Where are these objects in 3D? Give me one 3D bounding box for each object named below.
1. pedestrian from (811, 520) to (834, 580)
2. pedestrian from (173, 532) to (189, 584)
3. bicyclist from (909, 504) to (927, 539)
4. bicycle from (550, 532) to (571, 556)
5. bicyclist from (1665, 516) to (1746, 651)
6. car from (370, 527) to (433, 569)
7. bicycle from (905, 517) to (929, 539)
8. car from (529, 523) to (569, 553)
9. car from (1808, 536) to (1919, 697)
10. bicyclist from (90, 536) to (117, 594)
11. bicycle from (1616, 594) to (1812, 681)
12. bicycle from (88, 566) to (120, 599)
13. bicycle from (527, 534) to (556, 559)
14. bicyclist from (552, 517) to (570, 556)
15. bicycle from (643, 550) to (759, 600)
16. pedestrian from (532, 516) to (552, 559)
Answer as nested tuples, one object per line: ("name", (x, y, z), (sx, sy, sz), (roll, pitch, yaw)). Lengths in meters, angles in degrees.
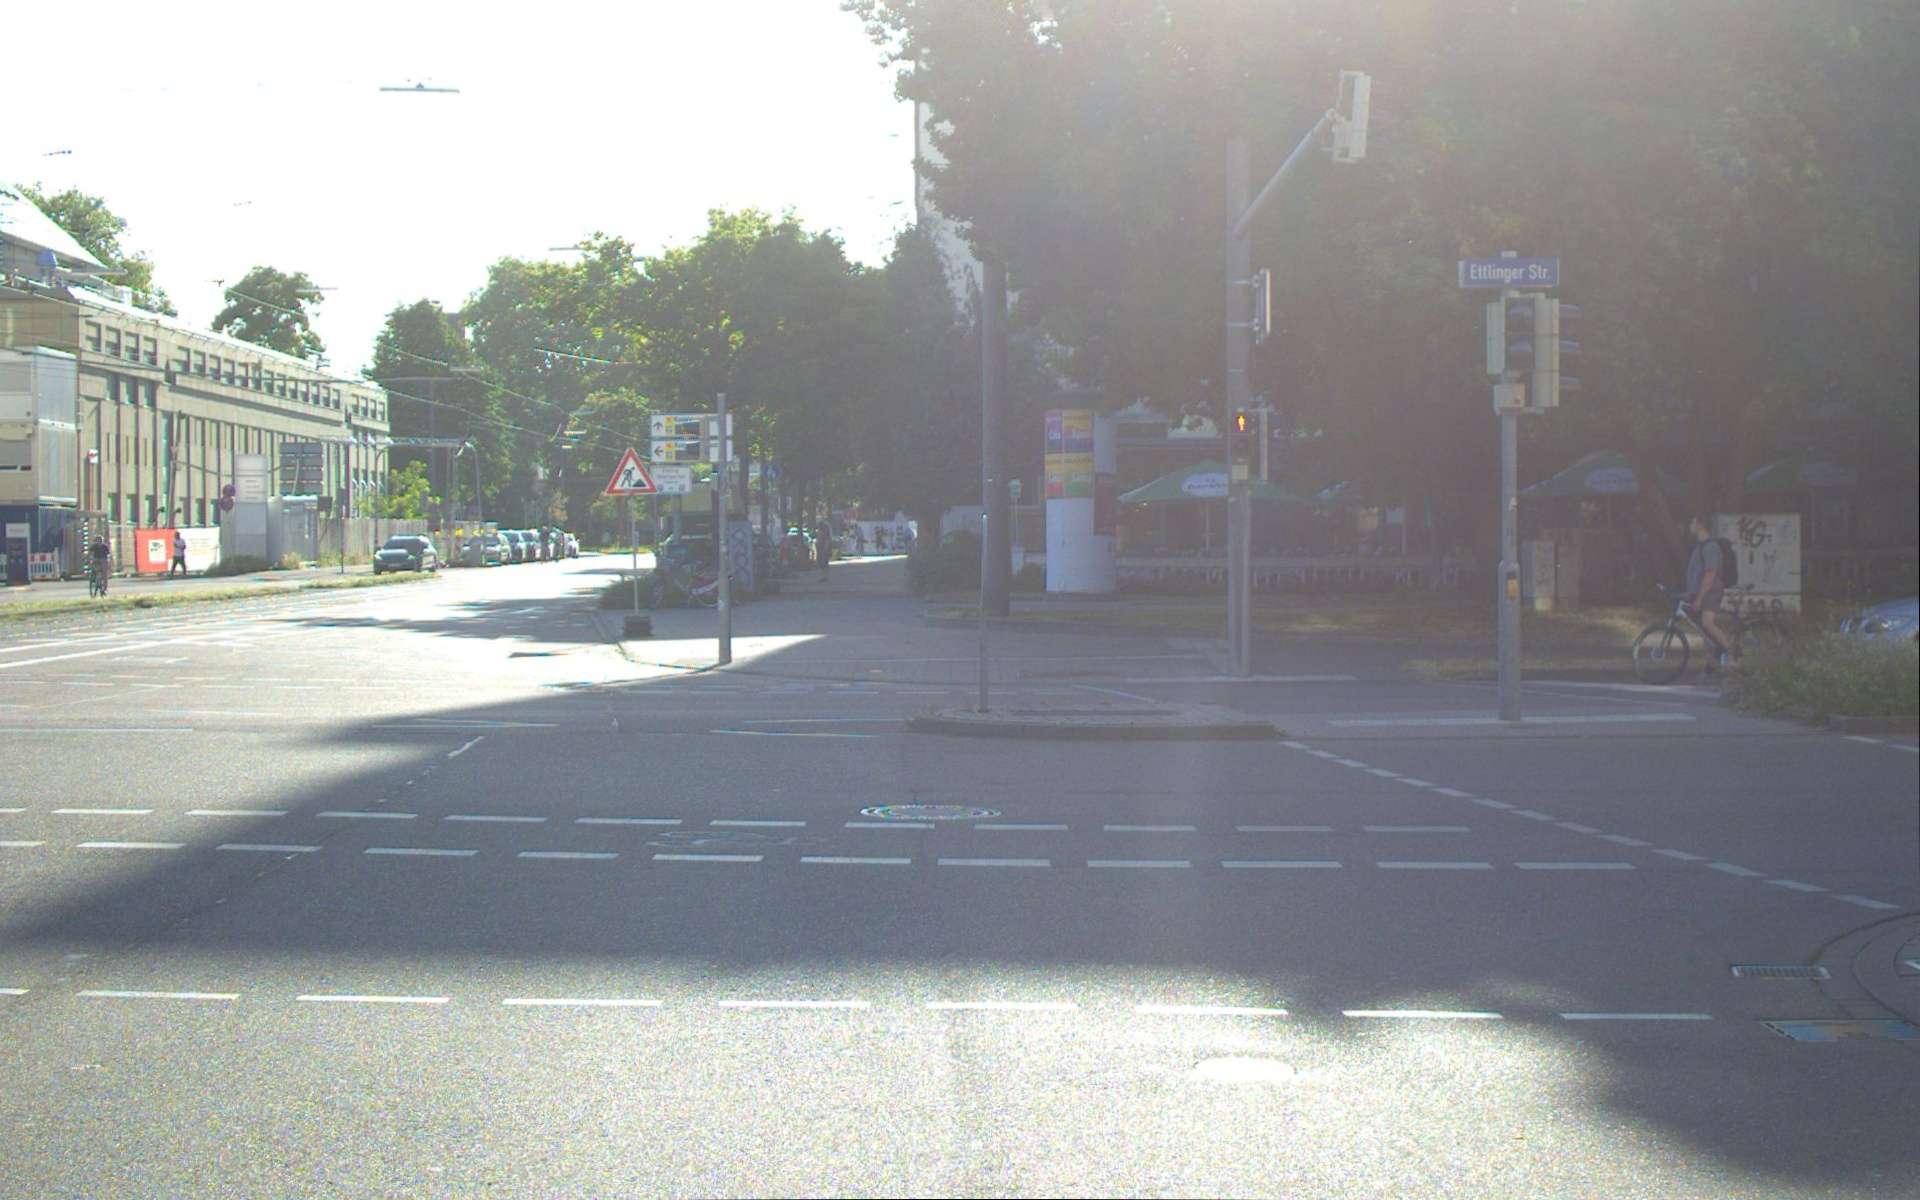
("pedestrian", (-3.904, -1.417, 97.565), (0.576, 1.683, 0.585), (-1, 1, -8))
("pedestrian", (-28.810, -1.554, 127.145), (0.476, 1.883, 0.590), (1, 0, -25))
("bicyclist", (-2.474, -4.594, 200.486), (0.890, 2.007, 0.749), (1, 0, -12))
("bicycle", (-19.847, -2.779, 171.021), (0.750, 1.201, 3.108), (1, 1, -2))
("bicyclist", (7.887, -0.174, 36.383), (0.747, 1.401, 0.702), (1, 0, 6))
("car", (-22.038, -2.074, 135.754), (1.993, 1.593, 4.001), (-1, 1, -3))
("bicycle", (-2.506, -4.201, 200.610), (0.890, 1.215, 2.794), (1, 1, -12))
("car", (-23.259, -3.520, 194.696), (1.993, 1.638, 4.001), (-1, 1, -4))
("car", (10.833, 0.175, 33.577), (4.576, 1.511, 2.000), (1, 1, 0))
("bicyclist", (-22.211, -0.911, 89.145), (0.494, 1.493, 0.666), (-1, 1, 2))
("bicycle", (7.969, 0.389, 36.384), (1.944, 0.886, 0.718), (1, 0, 6))
("bicycle", (-22.202, -0.461, 89.173), (0.494, 0.836, 1.156), (-1, 1, 2))
("bicycle", (-20.143, -2.573, 165.555), (0.751, 1.201, 3.107), (1, 1, 5))
("bicyclist", (-19.850, -3.151, 170.898), (0.750, 1.913, 1.215), (1, 0, -2))
("bicycle", (-5.061, -0.494, 67.229), (2.244, 0.937, 0.654), (-1, 1, -5))
("pedestrian", (-20.128, -3.001, 165.616), (0.751, 2.056, 1.050), (1, 0, 5))
